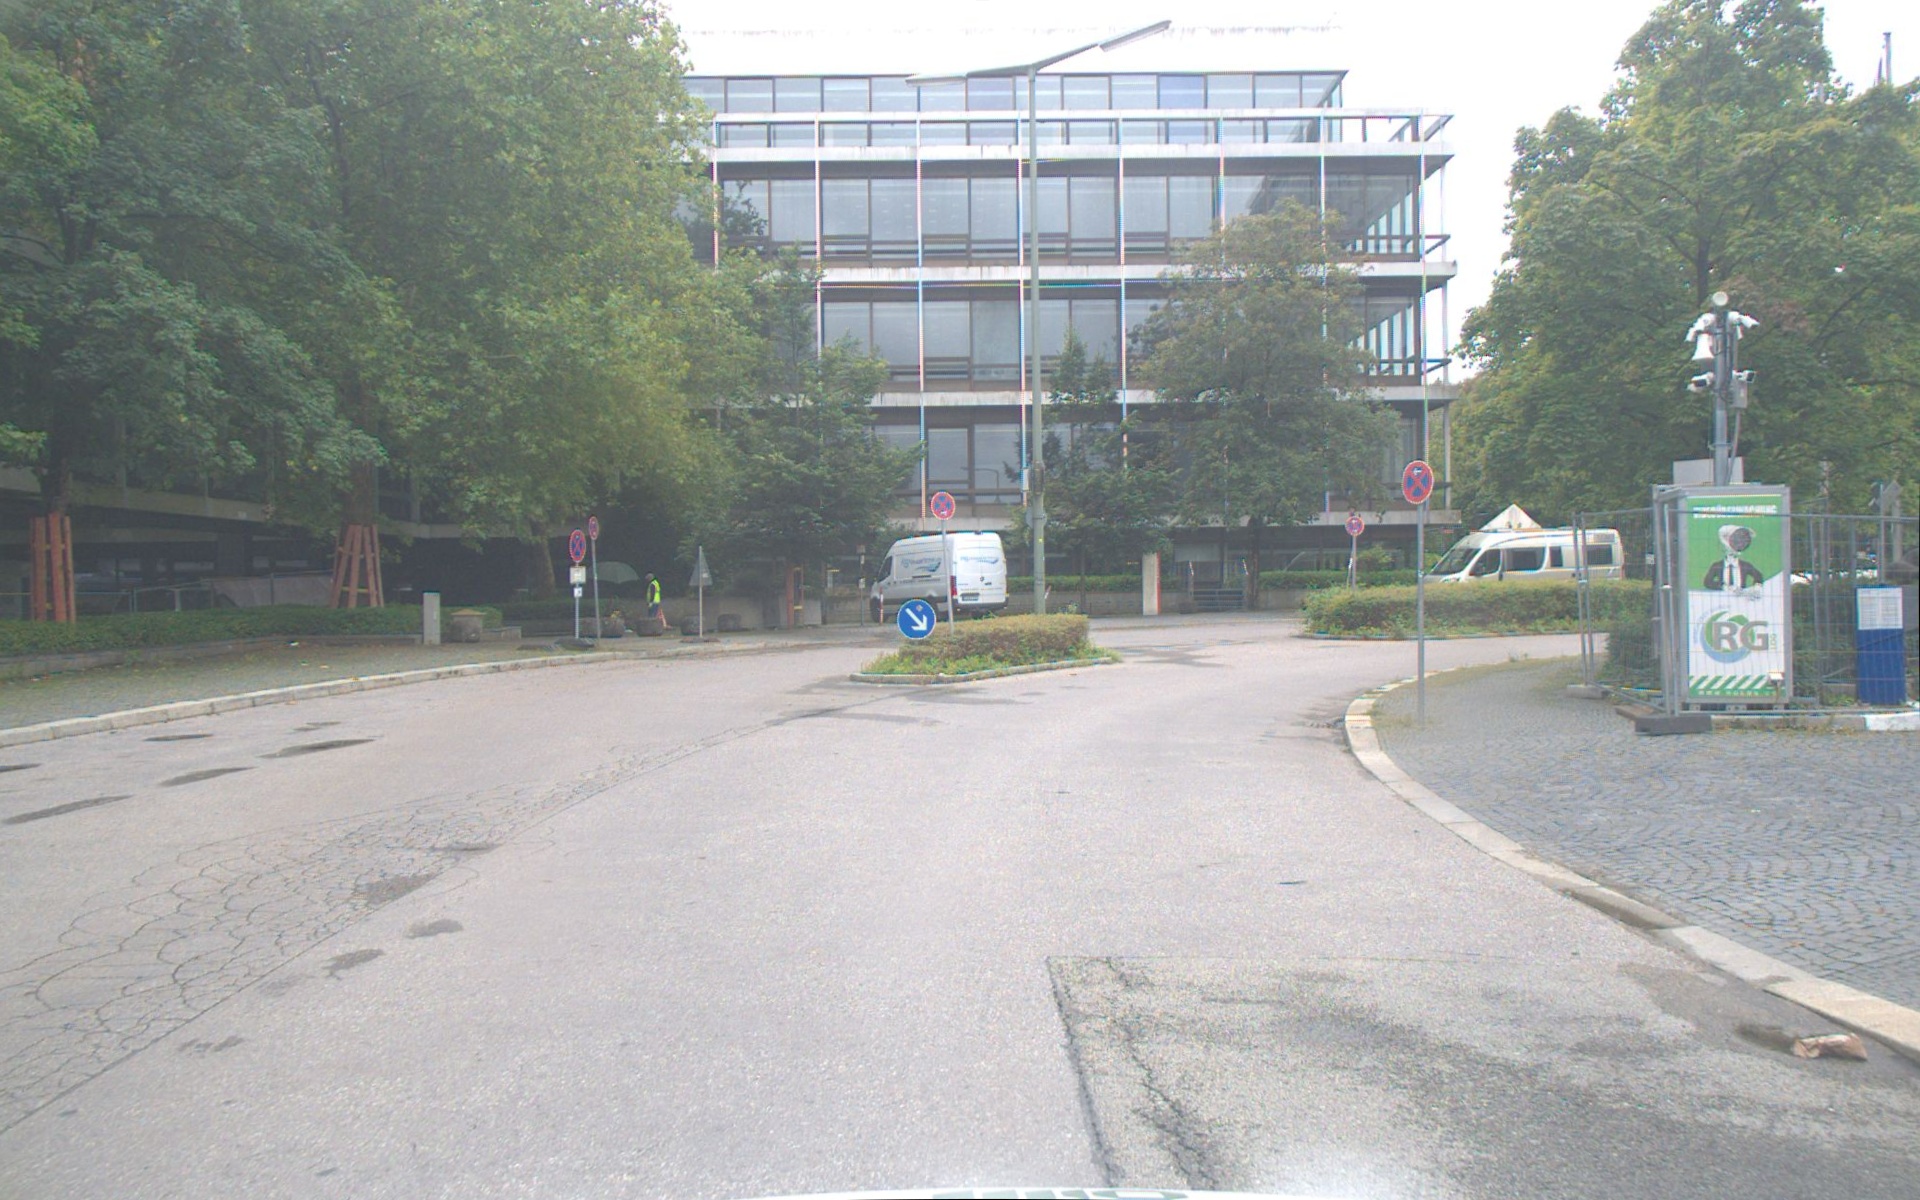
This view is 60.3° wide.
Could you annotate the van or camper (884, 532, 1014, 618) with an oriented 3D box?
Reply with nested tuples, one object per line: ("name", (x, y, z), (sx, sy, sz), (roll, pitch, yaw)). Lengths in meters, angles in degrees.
("van or camper", (-0.409, -0.769, 51.356), (2.060, 2.535, 5.023), (-1, 1, -27))

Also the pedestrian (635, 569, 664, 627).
("pedestrian", (-9.366, -0.062, 49.840), (0.731, 1.706, 0.678), (-1, 0, -21))

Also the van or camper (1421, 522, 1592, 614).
("van or camper", (16.205, -0.940, 49.111), (4.372, 2.630, 2.102), (-1, 0, -12))
